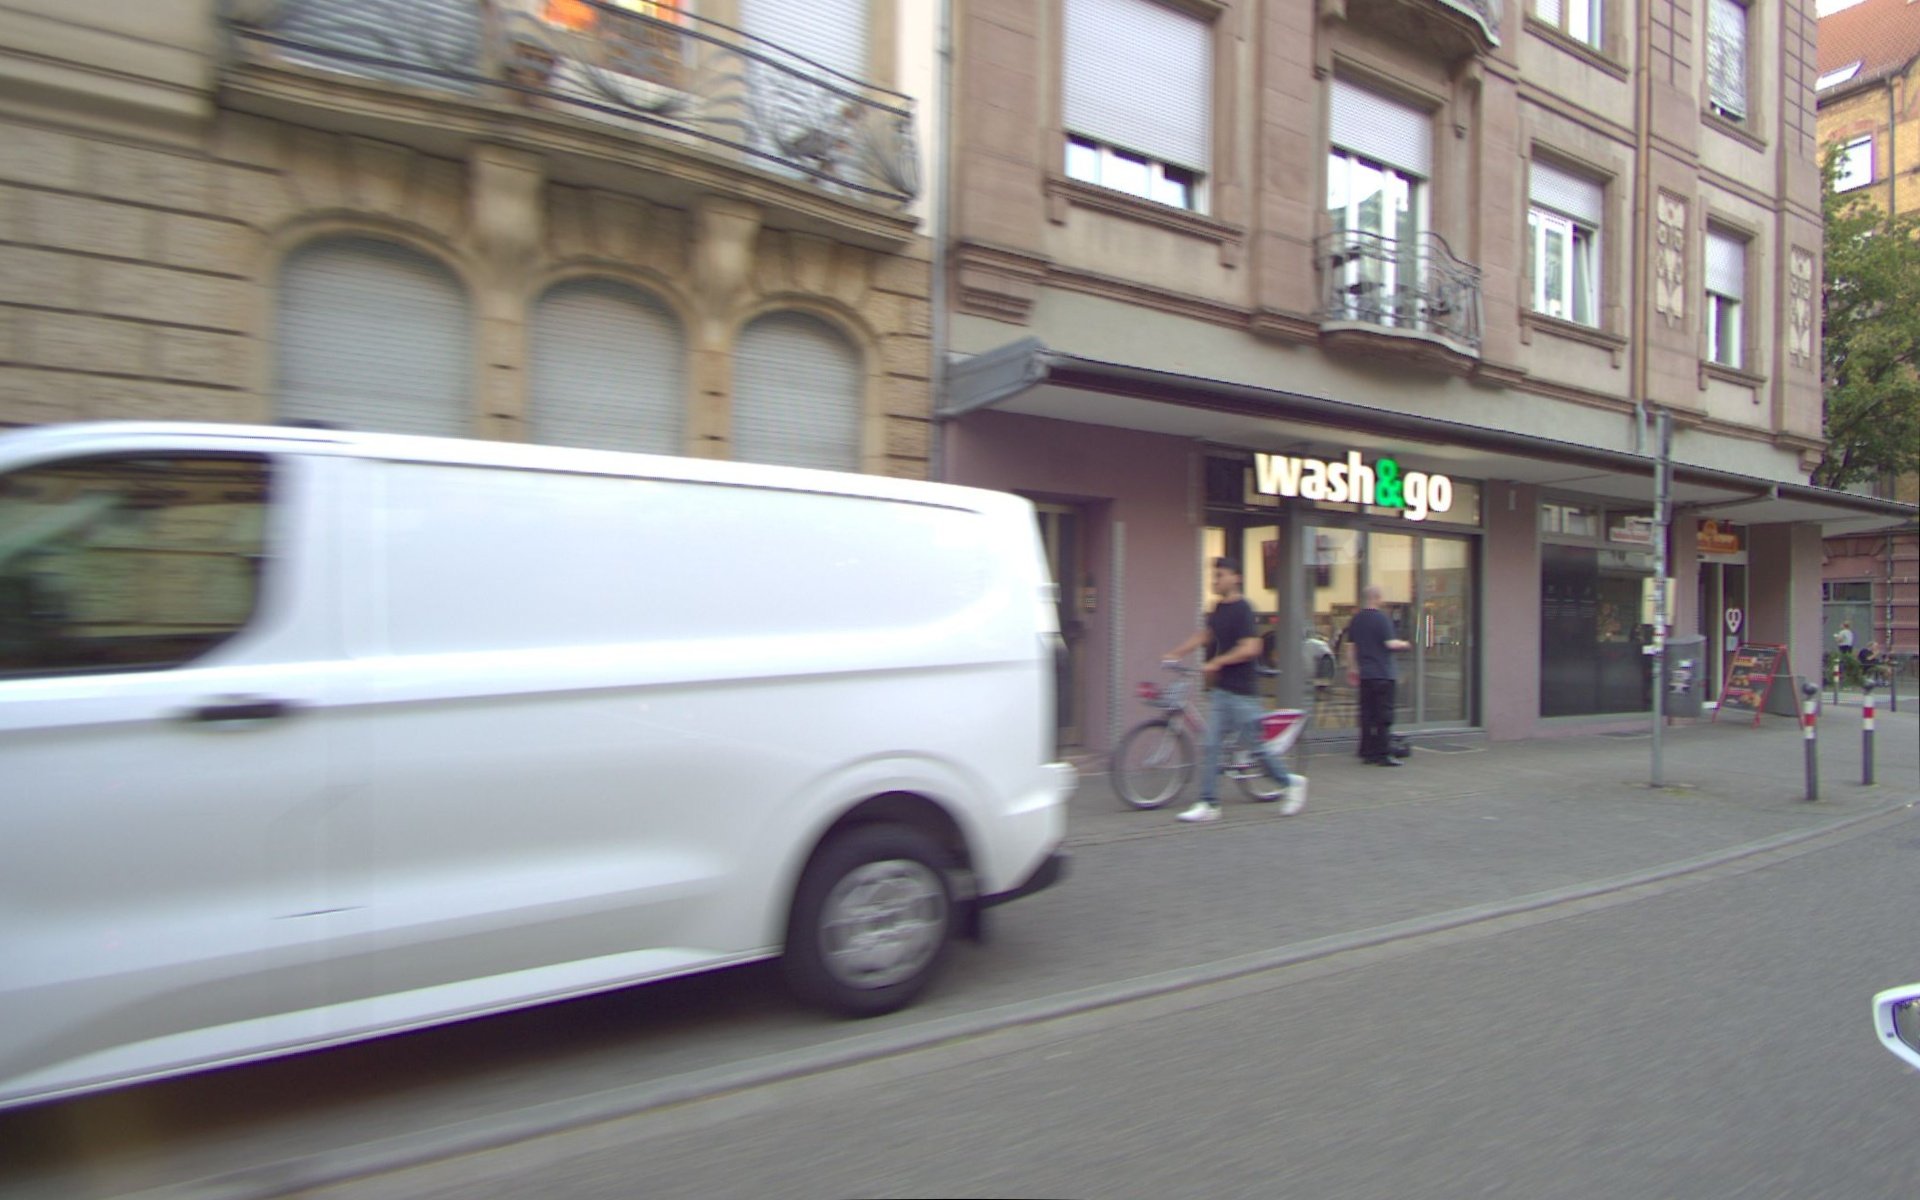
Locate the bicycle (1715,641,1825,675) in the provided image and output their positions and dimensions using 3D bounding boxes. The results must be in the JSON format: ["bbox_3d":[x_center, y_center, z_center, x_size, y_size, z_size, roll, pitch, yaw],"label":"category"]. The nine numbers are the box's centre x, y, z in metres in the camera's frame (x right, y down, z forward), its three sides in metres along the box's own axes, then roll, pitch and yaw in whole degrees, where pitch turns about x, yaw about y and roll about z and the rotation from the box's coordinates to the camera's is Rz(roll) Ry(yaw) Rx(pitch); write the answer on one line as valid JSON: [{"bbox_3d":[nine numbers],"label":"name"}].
[{"bbox_3d":[27.391,1.942,34.035,0.618,0.971,2.882,2,0,-30],"label":"bicycle"}]

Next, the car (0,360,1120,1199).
[{"bbox_3d":[-2.033,0.458,3.574,4.968,1.947,2.099,2,-1,-31],"label":"car"}]

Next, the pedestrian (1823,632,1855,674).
[{"bbox_3d":[27.521,1.659,31.464,0.564,1.279,0.456,2,0,-5],"label":"pedestrian"}]

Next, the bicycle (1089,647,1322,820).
[{"bbox_3d":[1.844,0.953,7.457,1.761,1.157,0.470,2,0,-26],"label":"bicycle"}]

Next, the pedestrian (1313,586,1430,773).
[{"bbox_3d":[3.946,0.732,9.645,0.726,1.700,0.707,1,0,-26],"label":"pedestrian"}]

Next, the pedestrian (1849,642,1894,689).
[{"bbox_3d":[25.747,1.840,28.374,0.660,1.279,0.750,2,0,-30],"label":"pedestrian"}]

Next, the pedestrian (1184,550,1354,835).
[{"bbox_3d":[2.146,0.615,6.985,0.984,1.848,0.535,2,0,-26],"label":"pedestrian"}]
